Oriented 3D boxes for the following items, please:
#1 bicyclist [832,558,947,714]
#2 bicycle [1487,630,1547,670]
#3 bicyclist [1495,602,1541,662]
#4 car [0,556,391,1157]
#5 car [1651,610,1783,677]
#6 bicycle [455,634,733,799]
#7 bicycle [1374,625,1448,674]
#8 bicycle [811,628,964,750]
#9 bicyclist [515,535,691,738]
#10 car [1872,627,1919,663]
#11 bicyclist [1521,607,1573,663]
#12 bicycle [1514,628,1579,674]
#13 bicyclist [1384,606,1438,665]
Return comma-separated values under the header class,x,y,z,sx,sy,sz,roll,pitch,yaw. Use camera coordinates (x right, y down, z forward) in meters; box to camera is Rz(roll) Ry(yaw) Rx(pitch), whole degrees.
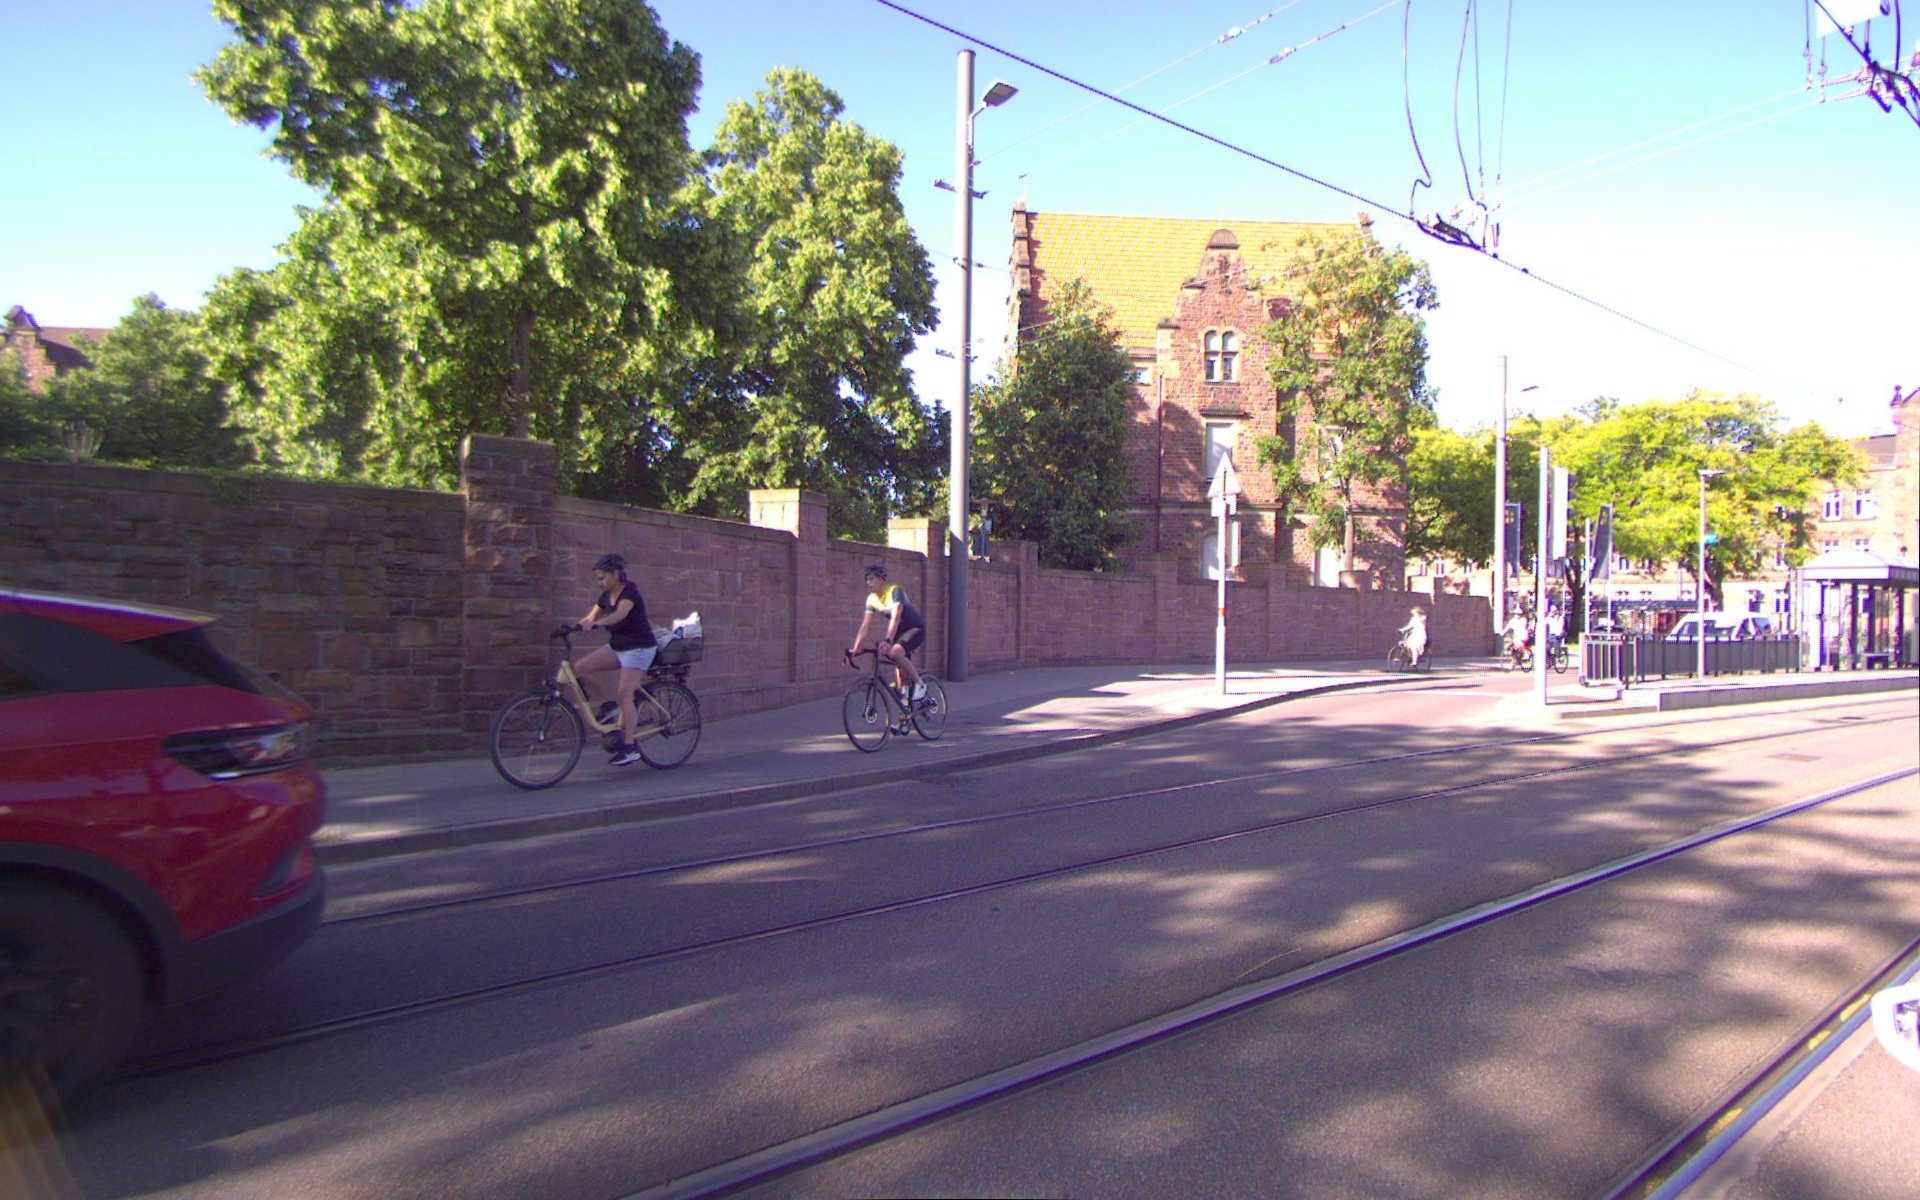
class,x,y,z,sx,sy,sz,roll,pitch,yaw
bicyclist,-0.695,0.347,10.215,0.643,1.478,1.151,1,0,27
bicycle,16.253,1.451,29.313,1.993,1.087,0.665,1,1,-34
bicyclist,16.274,0.924,29.315,1.220,1.697,0.646,0,2,-33
car,-4.090,0.666,2.521,4.329,1.628,1.800,2,-1,-44
car,22.085,1.227,29.275,4.210,1.812,1.816,1,-1,-34
bicycle,-2.821,0.837,7.984,0.675,1.103,2.057,1,-1,35
bicycle,11.898,1.289,26.485,1.931,1.214,0.811,2,0,-32
bicycle,-0.685,0.861,10.224,0.674,1.103,1.853,1,-2,27
bicyclist,-2.810,0.271,7.980,0.644,1.478,1.148,1,0,35
car,39.505,1.815,41.331,4.444,1.401,1.788,1,-1,-32
bicyclist,16.685,0.986,28.540,1.334,1.557,0.756,1,0,-34
bicycle,16.662,1.445,28.536,2.067,1.247,0.772,1,-1,-34
bicyclist,11.894,0.933,26.475,1.177,1.490,0.752,2,0,-32
